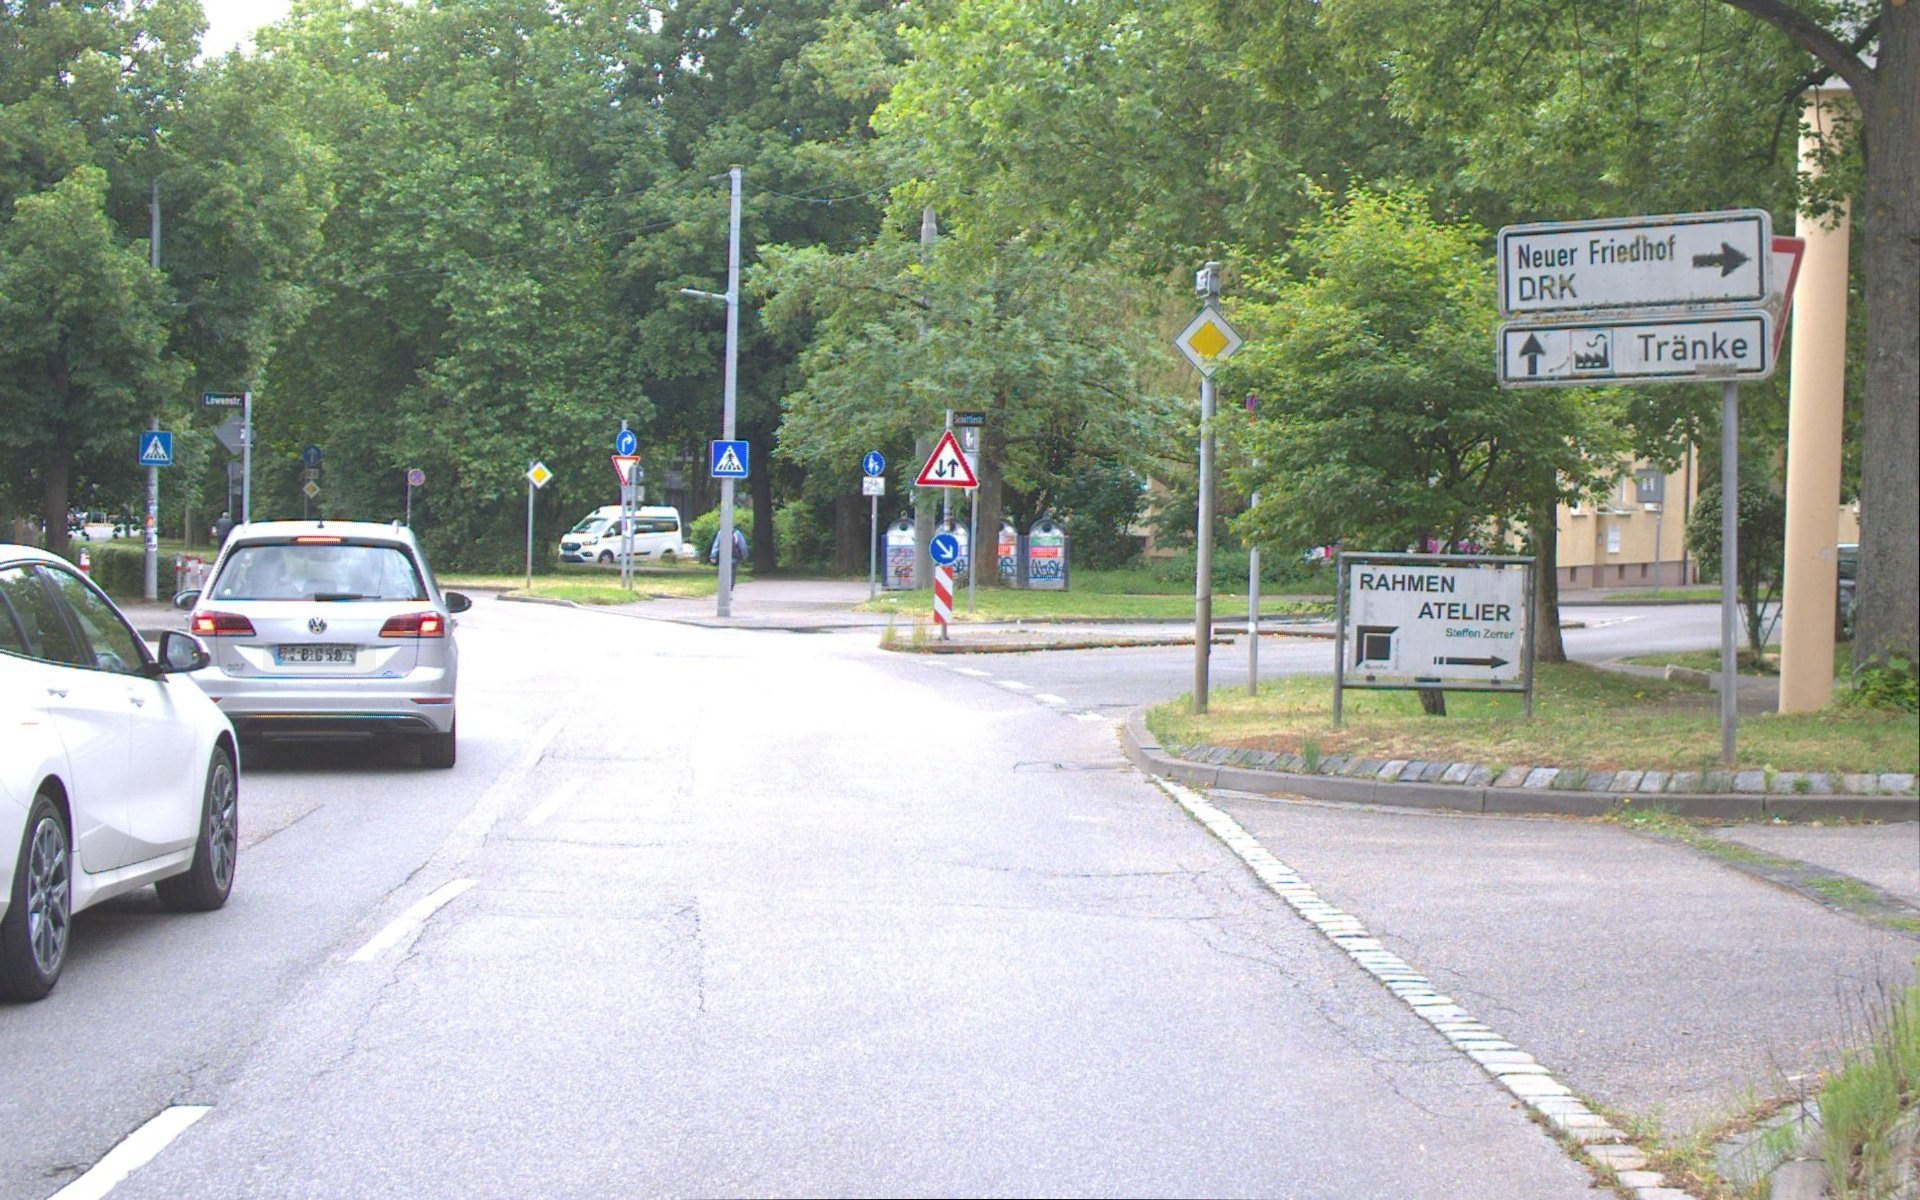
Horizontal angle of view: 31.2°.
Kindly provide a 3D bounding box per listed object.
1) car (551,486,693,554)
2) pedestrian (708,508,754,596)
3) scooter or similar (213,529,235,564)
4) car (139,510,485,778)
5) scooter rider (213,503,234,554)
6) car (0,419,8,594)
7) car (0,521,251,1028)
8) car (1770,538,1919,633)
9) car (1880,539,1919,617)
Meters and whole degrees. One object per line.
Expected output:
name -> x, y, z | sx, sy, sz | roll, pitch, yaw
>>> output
car -> -12.787, -3.019, 130.481 | 2.135, 2.289, 5.373 | 6, 2, 37
pedestrian -> -5.118, -1.073, 76.803 | 0.923, 1.865, 1.019 | -2, 4, -5
scooter or similar -> -22.680, -1.654, 105.889 | 0.600, 1.051, 0.873 | 0, 3, -15
car -> -4.231, 0.224, 22.989 | 1.922, 1.568, 4.001 | 1, 2, -6
scooter rider -> -22.715, -2.201, 106.006 | 0.600, 1.547, 0.566 | 0, 3, -15
car -> -14.604, -1.000, 39.029 | 6.959, 2.513, 2.084 | 1, 3, -38
car -> -3.798, 0.484, 12.135 | 1.795, 1.512, 4.207 | 0, 1, -1
car -> 16.463, -0.260, 63.644 | 1.877, 1.563, 4.013 | 5, 2, 27
car -> 21.144, -0.423, 73.652 | 1.781, 1.592, 4.242 | 4, 2, 28
